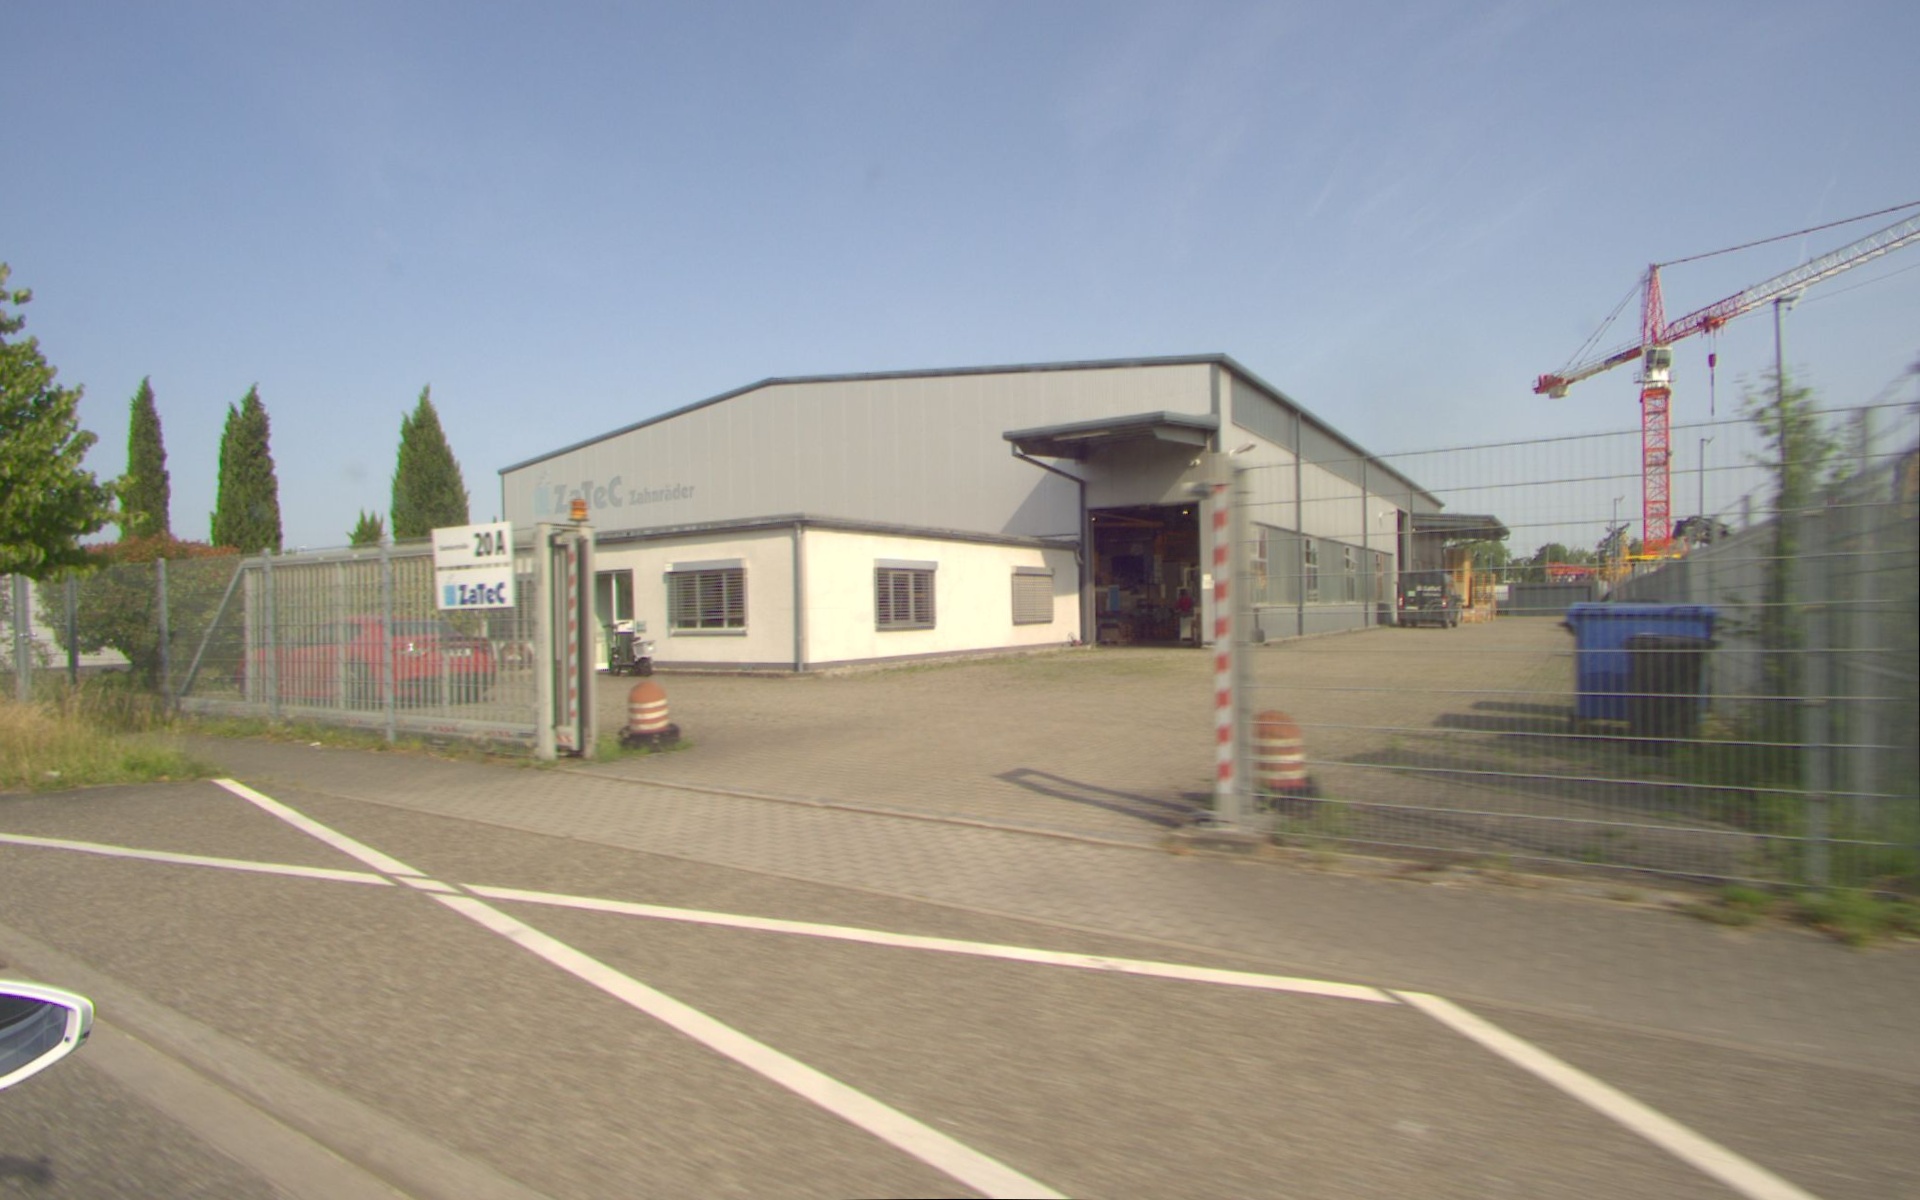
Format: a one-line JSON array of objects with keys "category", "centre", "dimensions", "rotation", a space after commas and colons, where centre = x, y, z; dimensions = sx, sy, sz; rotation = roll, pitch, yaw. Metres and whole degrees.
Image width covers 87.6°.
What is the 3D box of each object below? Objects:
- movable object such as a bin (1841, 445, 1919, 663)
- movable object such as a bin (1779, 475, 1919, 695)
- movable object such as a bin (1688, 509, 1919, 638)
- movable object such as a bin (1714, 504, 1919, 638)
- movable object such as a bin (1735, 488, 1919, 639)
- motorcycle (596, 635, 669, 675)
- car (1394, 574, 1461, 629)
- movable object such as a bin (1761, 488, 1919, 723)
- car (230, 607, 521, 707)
[{"category": "movable object such as a bin", "centre": [19.833, -0.872, 17.987], "dimensions": [5.639, 3.925, 2.677], "rotation": [-1, 0, 34]}, {"category": "movable object such as a bin", "centre": [14.710, -0.230, 14.297], "dimensions": [4.430, 3.071, 1.988], "rotation": [-1, 0, 34]}, {"category": "movable object such as a bin", "centre": [28.498, -0.791, 33.751], "dimensions": [6.051, 3.981, 2.447], "rotation": [-2, 0, 30]}, {"category": "movable object such as a bin", "centre": [27.107, -0.834, 30.690], "dimensions": [6.051, 3.831, 2.447], "rotation": [-2, 0, 30]}, {"category": "movable object such as a bin", "centre": [26.127, -0.985, 27.674], "dimensions": [7.094, 3.981, 2.462], "rotation": [-2, 0, 30]}, {"category": "motorcycle", "centre": [-6.673, 1.107, 20.407], "dimensions": [1.561, 0.761, 0.533], "rotation": [-1, 1, 33]}, {"category": "car", "centre": [21.978, 0.063, 46.994], "dimensions": [2.194, 2.422, 4.679], "rotation": [1, 1, 33]}, {"category": "movable object such as a bin", "centre": [12.438, 0.019, 11.098], "dimensions": [5.265, 2.524, 2.915], "rotation": [-1, 0, 34]}, {"category": "car", "centre": [-9.328, 0.845, 15.901], "dimensions": [4.701, 1.375, 1.878], "rotation": [-1, 0, 30]}]
